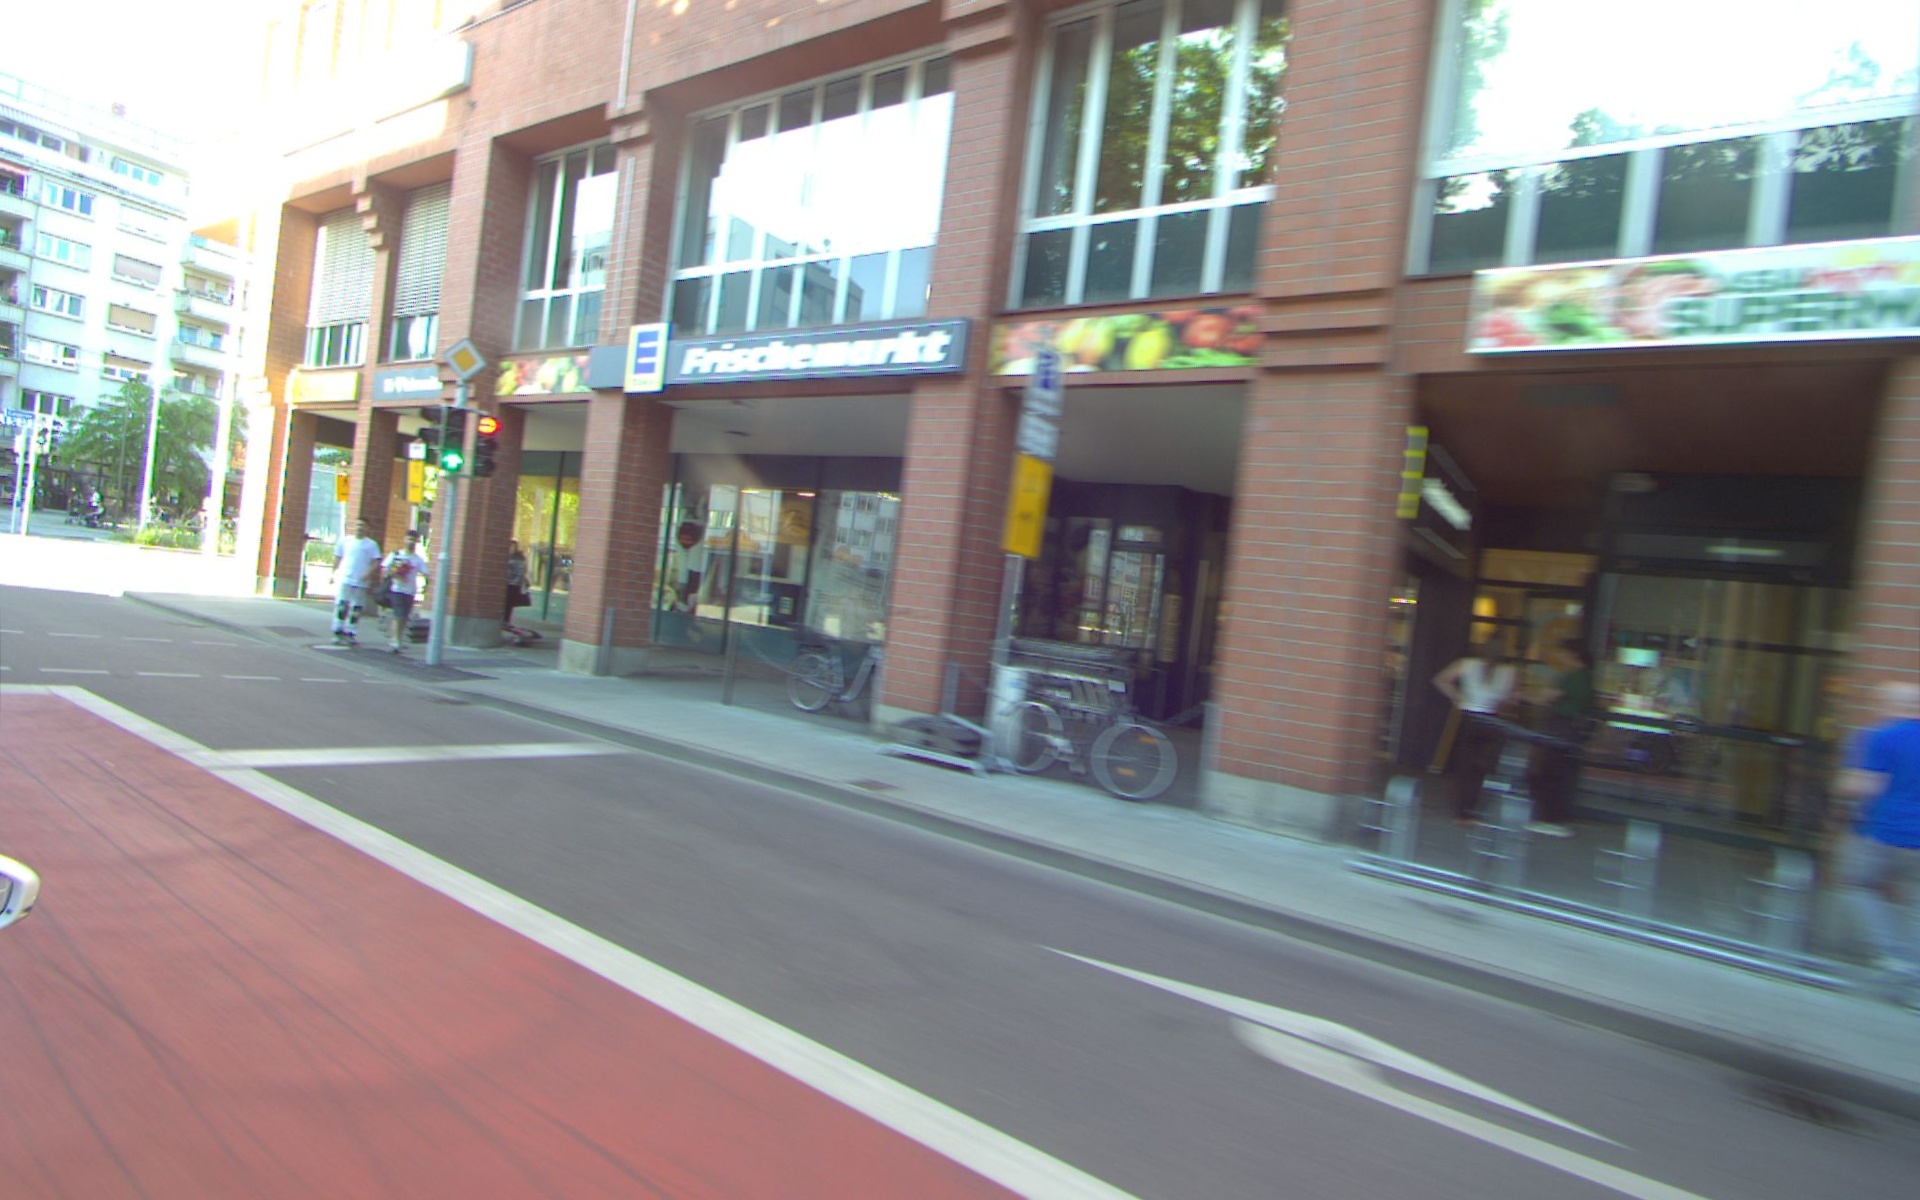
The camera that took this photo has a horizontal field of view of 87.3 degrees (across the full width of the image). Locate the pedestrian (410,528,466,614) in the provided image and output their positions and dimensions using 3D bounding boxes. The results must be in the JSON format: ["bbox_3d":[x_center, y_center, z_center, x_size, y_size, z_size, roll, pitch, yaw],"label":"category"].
[{"bbox_3d":[-10.955,-0.611,21.119,0.784,1.682,0.600,7,0,35],"label":"pedestrian"}]

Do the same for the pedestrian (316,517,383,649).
[{"bbox_3d":[-8.732,-0.241,14.383,0.532,1.814,0.476,7,0,35],"label":"pedestrian"}]

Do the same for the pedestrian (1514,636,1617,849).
[{"bbox_3d":[5.555,1.282,9.261,0.599,1.818,0.659,7,1,31],"label":"pedestrian"}]

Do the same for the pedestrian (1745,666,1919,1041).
[{"bbox_3d":[5.008,1.277,5.327,1.187,1.719,0.877,4,2,-35],"label":"pedestrian"}]

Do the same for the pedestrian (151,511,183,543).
[{"bbox_3d":[-38.426,-3.543,48.723,1.089,1.381,0.720,8,1,27],"label":"pedestrian"}]

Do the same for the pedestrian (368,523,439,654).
[{"bbox_3d":[-7.915,-0.161,14.330,0.626,1.746,0.627,7,0,-20],"label":"pedestrian"}]

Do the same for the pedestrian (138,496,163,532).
[{"bbox_3d":[-42.971,-4.556,53.411,0.705,1.767,0.682,7,1,25],"label":"pedestrian"}]

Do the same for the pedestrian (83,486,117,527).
[{"bbox_3d":[-43.159,-4.670,50.510,0.677,1.889,1.041,7,1,37],"label":"pedestrian"}]

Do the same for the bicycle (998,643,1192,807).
[{"bbox_3d":[1.189,1.092,9.114,1.652,1.198,0.339,7,1,36],"label":"bicycle"}]

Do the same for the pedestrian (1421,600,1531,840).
[{"bbox_3d":[4.712,1.069,9.187,0.649,2.038,0.608,7,1,29],"label":"pedestrian"}]

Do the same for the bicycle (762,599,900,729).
[{"bbox_3d":[-1.514,0.716,11.629,1.684,1.271,0.339,7,1,36],"label":"bicycle"}]

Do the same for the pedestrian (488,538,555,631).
[{"bbox_3d":[-8.214,-0.282,18.885,0.741,1.609,0.845,7,0,-5],"label":"pedestrian"}]

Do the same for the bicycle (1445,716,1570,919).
[{"bbox_3d":[3.878,1.433,7.052,0.467,1.133,1.892,7,0,34],"label":"bicycle"}]

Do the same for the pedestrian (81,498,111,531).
[{"bbox_3d":[-41.207,-4.070,47.966,0.711,1.437,0.924,7,0,-23],"label":"pedestrian"}]

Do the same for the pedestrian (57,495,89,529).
[{"bbox_3d":[-42.191,-4.194,47.869,0.711,1.464,0.925,7,0,-20],"label":"pedestrian"}]
